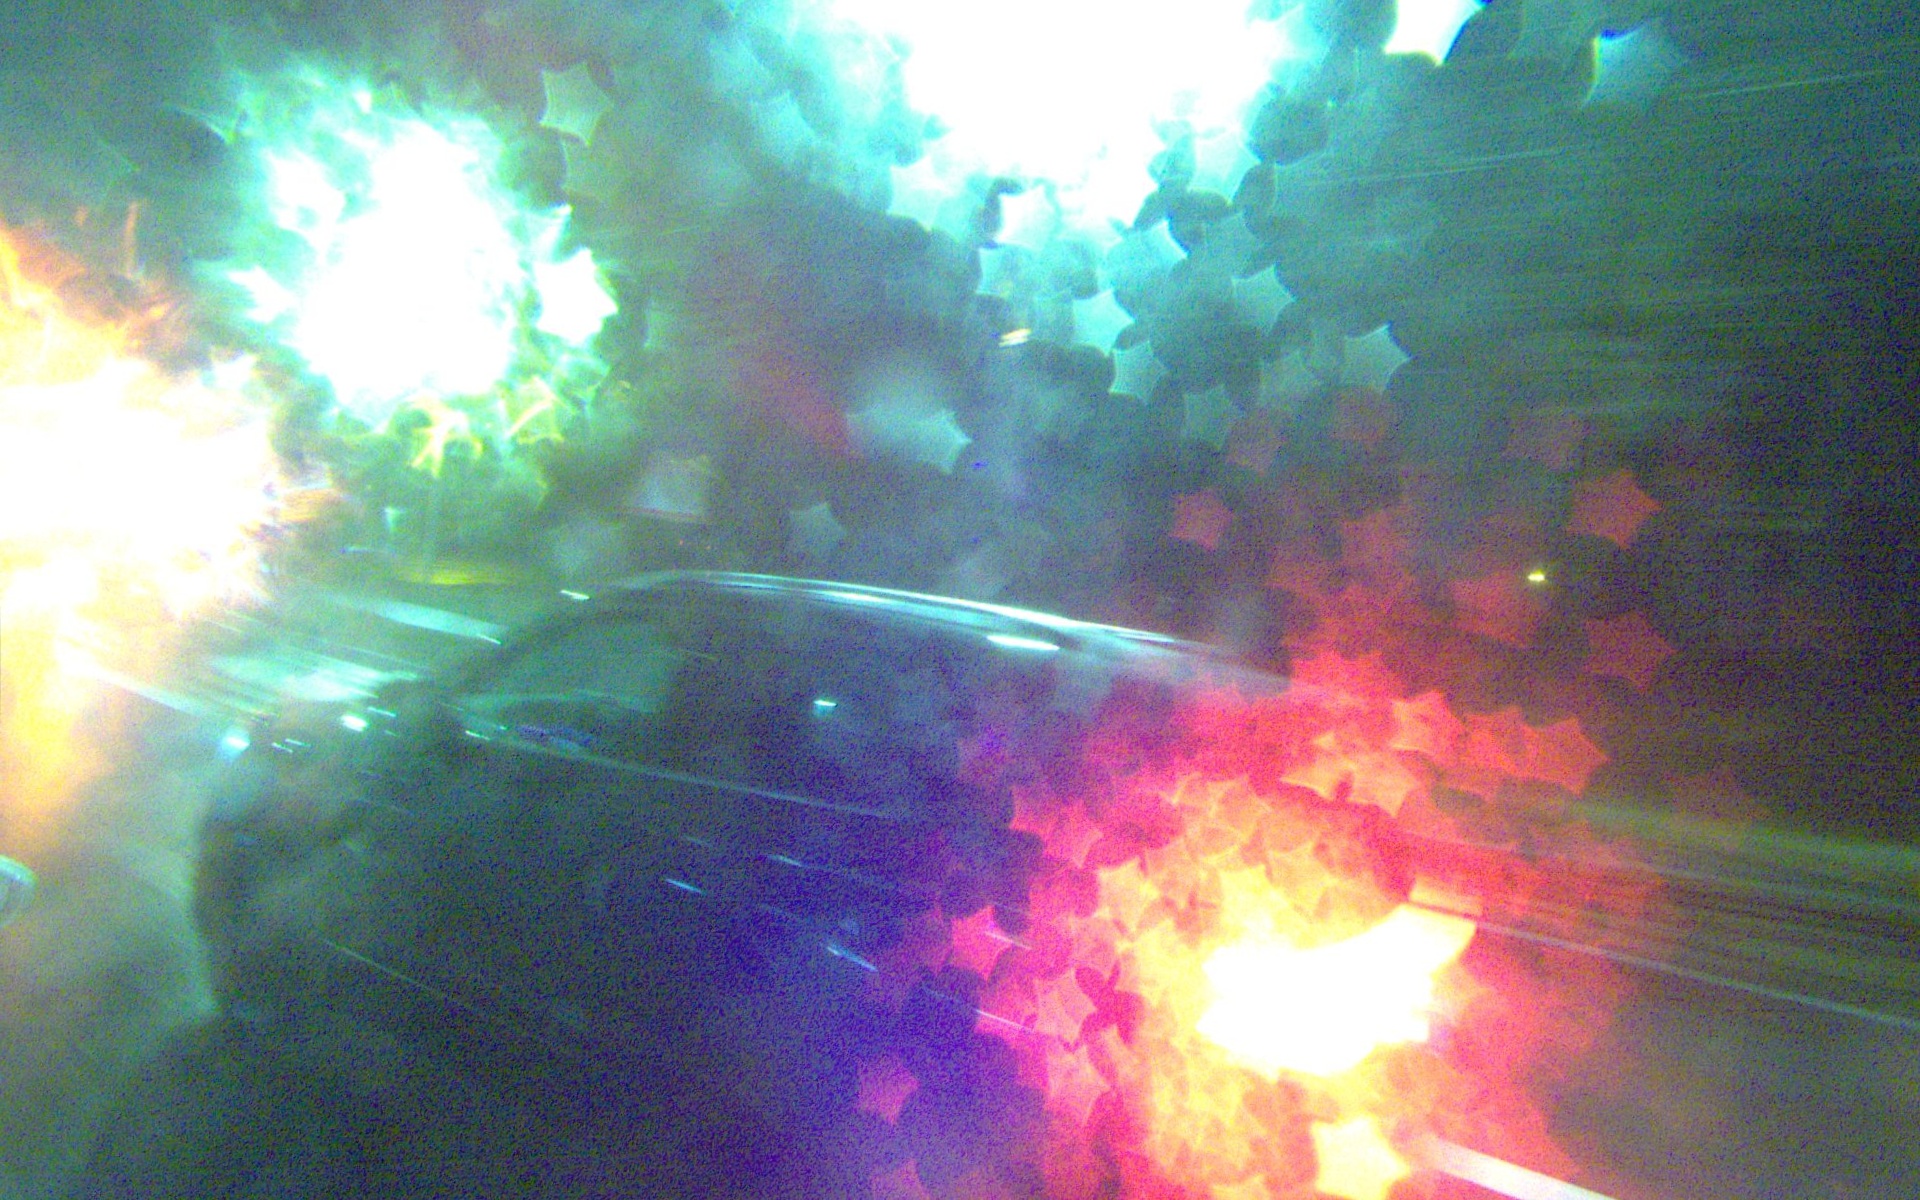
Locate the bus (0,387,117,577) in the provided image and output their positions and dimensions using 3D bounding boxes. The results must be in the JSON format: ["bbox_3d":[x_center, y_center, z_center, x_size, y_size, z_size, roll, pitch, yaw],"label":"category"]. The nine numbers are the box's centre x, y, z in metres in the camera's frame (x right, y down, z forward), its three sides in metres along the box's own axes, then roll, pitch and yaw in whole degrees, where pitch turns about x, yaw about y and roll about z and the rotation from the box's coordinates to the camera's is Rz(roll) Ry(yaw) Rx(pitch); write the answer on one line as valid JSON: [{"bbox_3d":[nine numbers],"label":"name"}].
[{"bbox_3d":[-20.642,-2.559,21.233,8.927,3.251,3.039,6,-1,43],"label":"bus"}]

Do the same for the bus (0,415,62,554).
[{"bbox_3d":[-27.137,-3.291,27.323,8.927,3.251,3.039,6,-1,43],"label":"bus"}]

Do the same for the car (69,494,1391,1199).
[{"bbox_3d":[-0.882,0.679,3.389,3.933,1.542,1.997,7,-1,31],"label":"car"}]
